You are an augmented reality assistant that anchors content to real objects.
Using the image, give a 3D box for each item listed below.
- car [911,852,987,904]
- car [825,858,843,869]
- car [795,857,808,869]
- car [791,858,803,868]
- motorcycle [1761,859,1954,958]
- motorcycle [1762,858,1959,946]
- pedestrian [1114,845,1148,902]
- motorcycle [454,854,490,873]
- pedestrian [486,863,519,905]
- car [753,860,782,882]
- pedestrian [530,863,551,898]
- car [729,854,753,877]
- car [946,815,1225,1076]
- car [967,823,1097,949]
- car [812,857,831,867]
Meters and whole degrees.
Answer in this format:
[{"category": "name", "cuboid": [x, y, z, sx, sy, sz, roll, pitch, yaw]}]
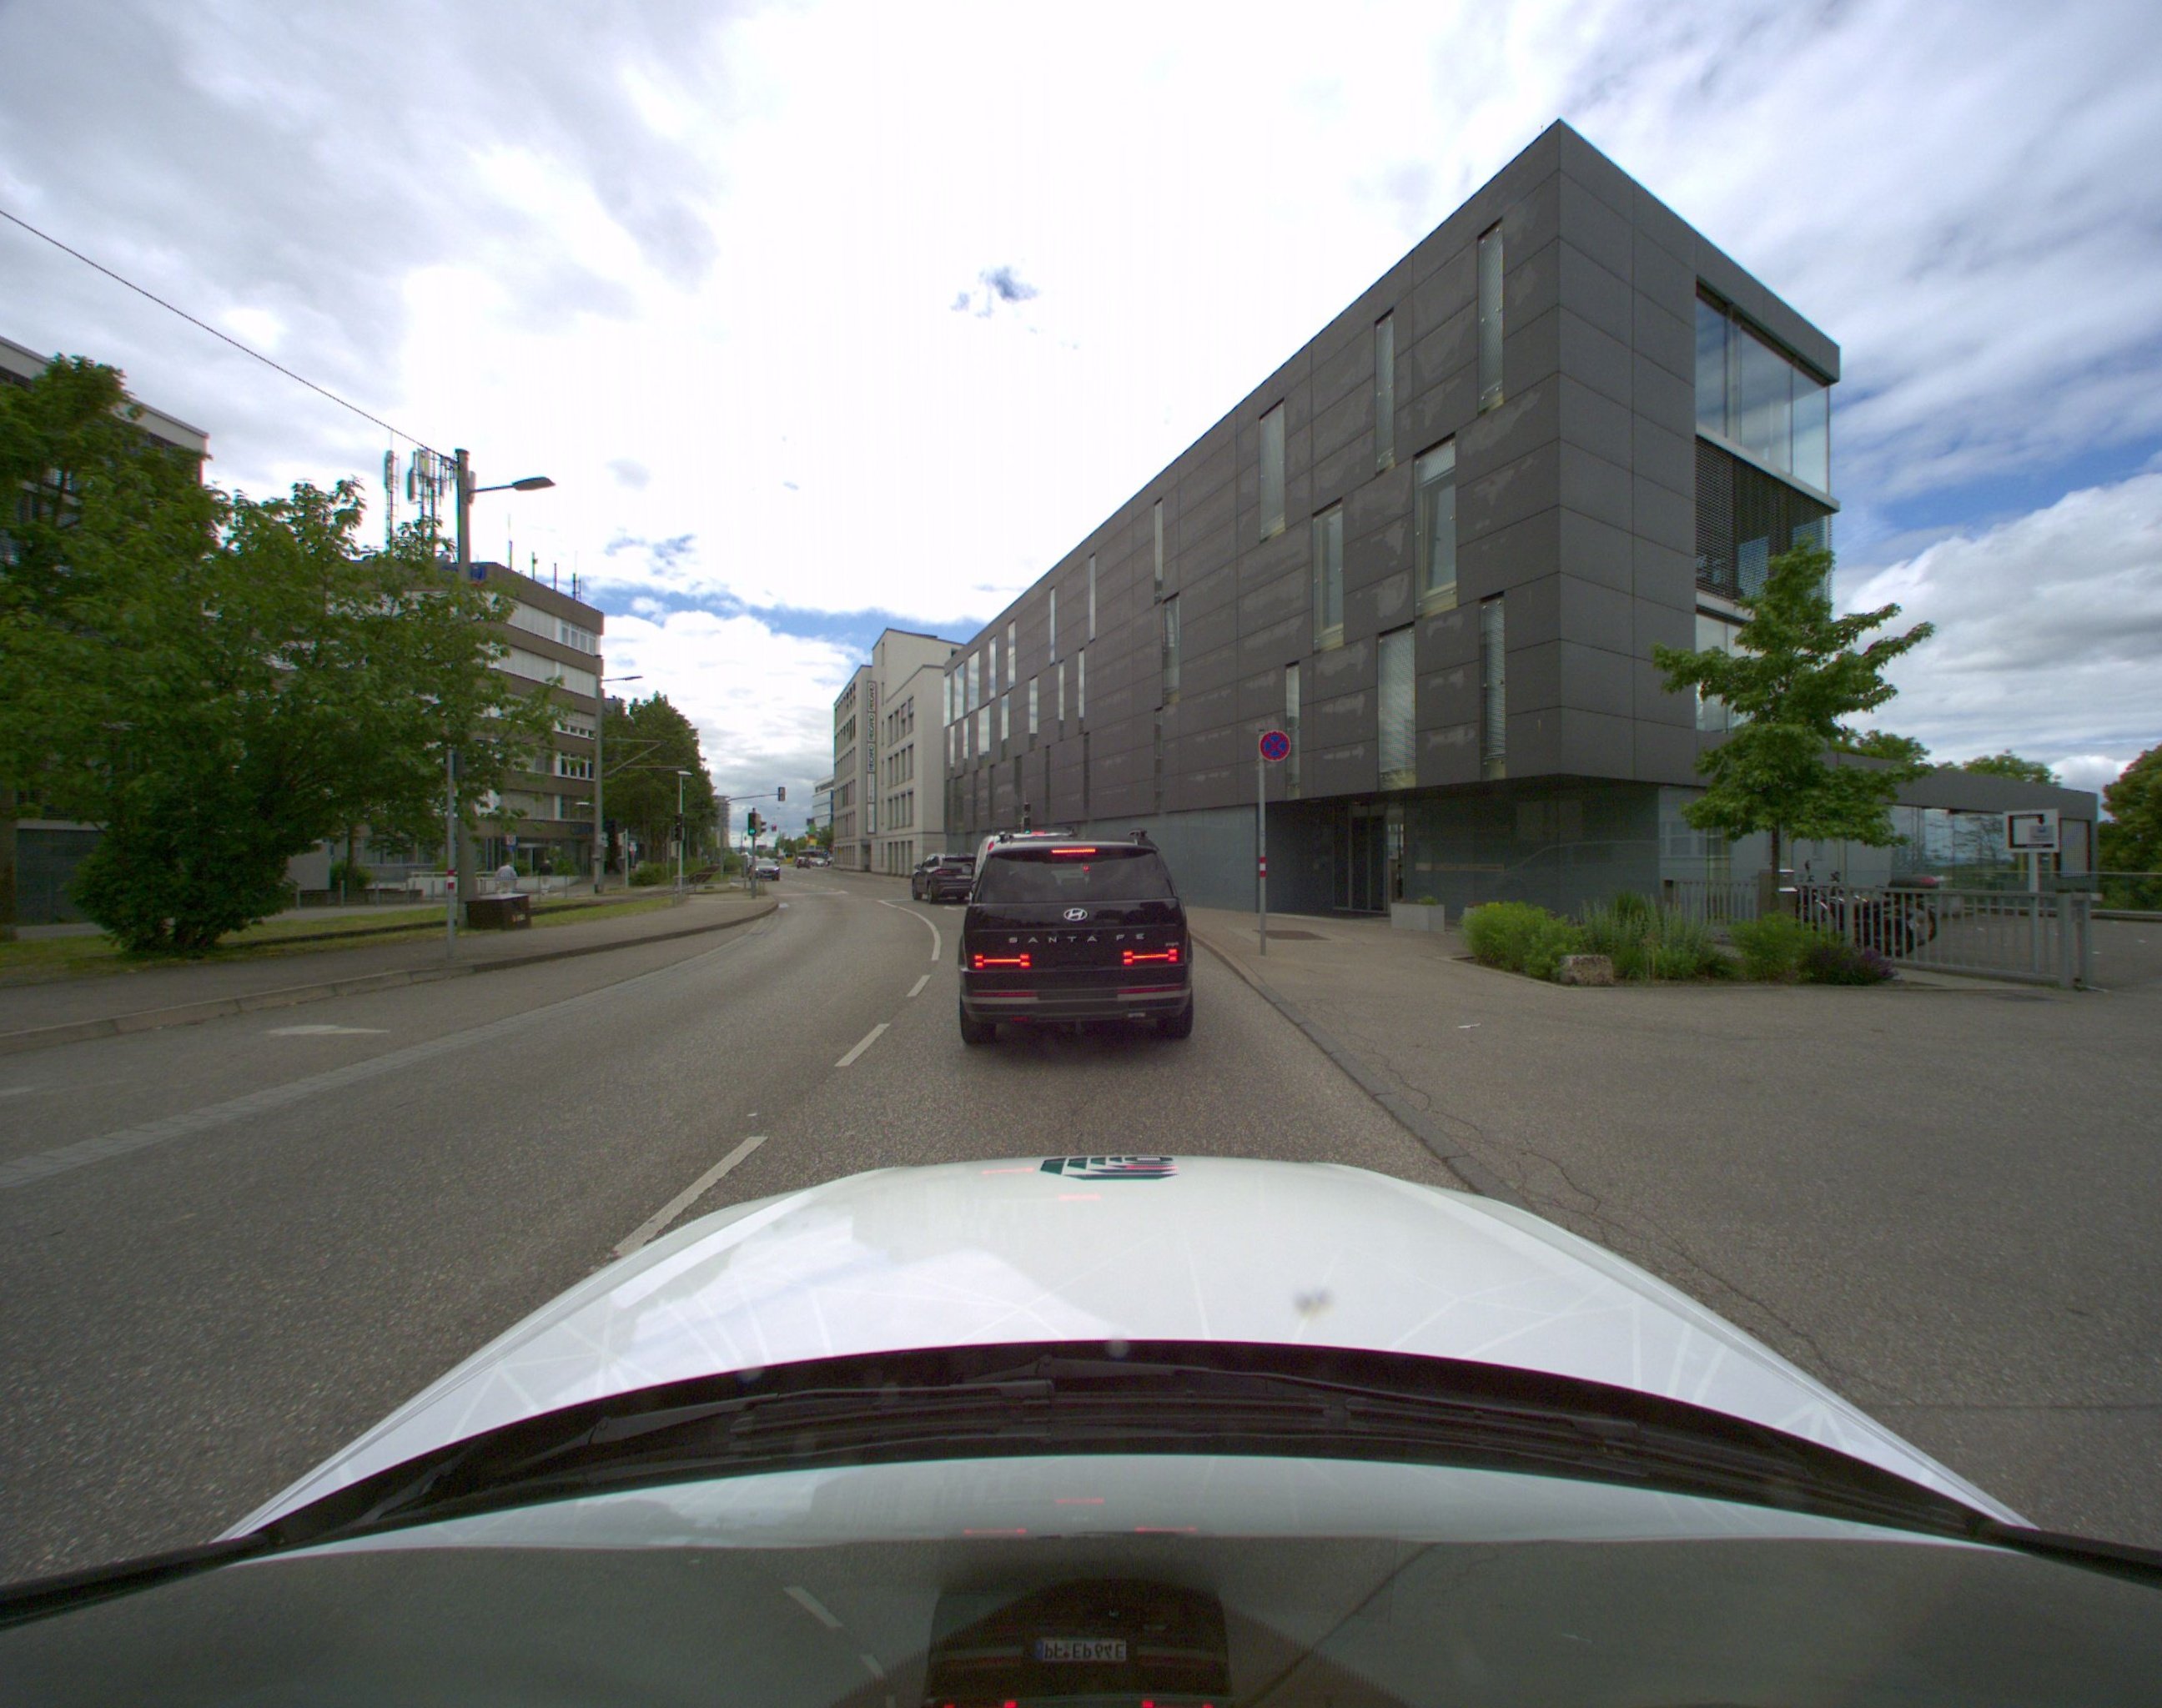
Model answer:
[{"category": "car", "cuboid": [-4.536, 0.751, 27.512, 1.765, 1.609, 4.159, 0, 0, -20]}, {"category": "car", "cuboid": [-43.209, 1.621, 142.445, 2.009, 1.852, 3.956, 0, 0, -35]}, {"category": "car", "cuboid": [-41.520, 1.327, 120.824, 1.765, 1.609, 4.159, 0, 0, -20]}, {"category": "car", "cuboid": [-47.957, 1.501, 137.549, 1.765, 1.609, 4.159, 0, 0, -20]}, {"category": "motorcycle", "cuboid": [11.955, 0.777, 12.657, 0.669, 1.393, 2.112, 0, 0, -17]}, {"category": "motorcycle", "cuboid": [13.416, 0.767, 14.150, 0.669, 1.393, 2.449, 0, 0, -17]}, {"category": "pedestrian", "cuboid": [1.501, 0.581, 24.645, 0.715, 1.694, 0.858, 1, -1, -25]}, {"category": "motorcycle", "cuboid": [-40.296, 0.615, 53.884, 1.878, 1.199, 0.566, -1, 0, -9]}, {"category": "pedestrian", "cuboid": [-22.170, 1.141, 31.224, 0.852, 1.526, 0.987, -2, 0, -25]}, {"category": "car", "cuboid": [-22.153, 1.173, 57.433, 1.775, 1.479, 3.970, -2, 0, -23]}, {"category": "pedestrian", "cuboid": [-26.963, 1.305, 40.618, 0.690, 1.705, 0.678, -2, 0, -22]}, {"category": "car", "cuboid": [-29.766, 1.001, 71.217, 1.689, 1.808, 4.316, -2, 0, -25]}, {"category": "car", "cuboid": [-0.112, 0.626, 7.835, 1.905, 1.749, 4.390, -1, 0, -4]}, {"category": "car", "cuboid": [-1.077, 0.504, 15.299, 1.932, 1.994, 4.519, 0, 0, -10]}, {"category": "car", "cuboid": [-45.002, 1.429, 141.361, 2.009, 1.703, 3.956, 0, 0, -36]}]
